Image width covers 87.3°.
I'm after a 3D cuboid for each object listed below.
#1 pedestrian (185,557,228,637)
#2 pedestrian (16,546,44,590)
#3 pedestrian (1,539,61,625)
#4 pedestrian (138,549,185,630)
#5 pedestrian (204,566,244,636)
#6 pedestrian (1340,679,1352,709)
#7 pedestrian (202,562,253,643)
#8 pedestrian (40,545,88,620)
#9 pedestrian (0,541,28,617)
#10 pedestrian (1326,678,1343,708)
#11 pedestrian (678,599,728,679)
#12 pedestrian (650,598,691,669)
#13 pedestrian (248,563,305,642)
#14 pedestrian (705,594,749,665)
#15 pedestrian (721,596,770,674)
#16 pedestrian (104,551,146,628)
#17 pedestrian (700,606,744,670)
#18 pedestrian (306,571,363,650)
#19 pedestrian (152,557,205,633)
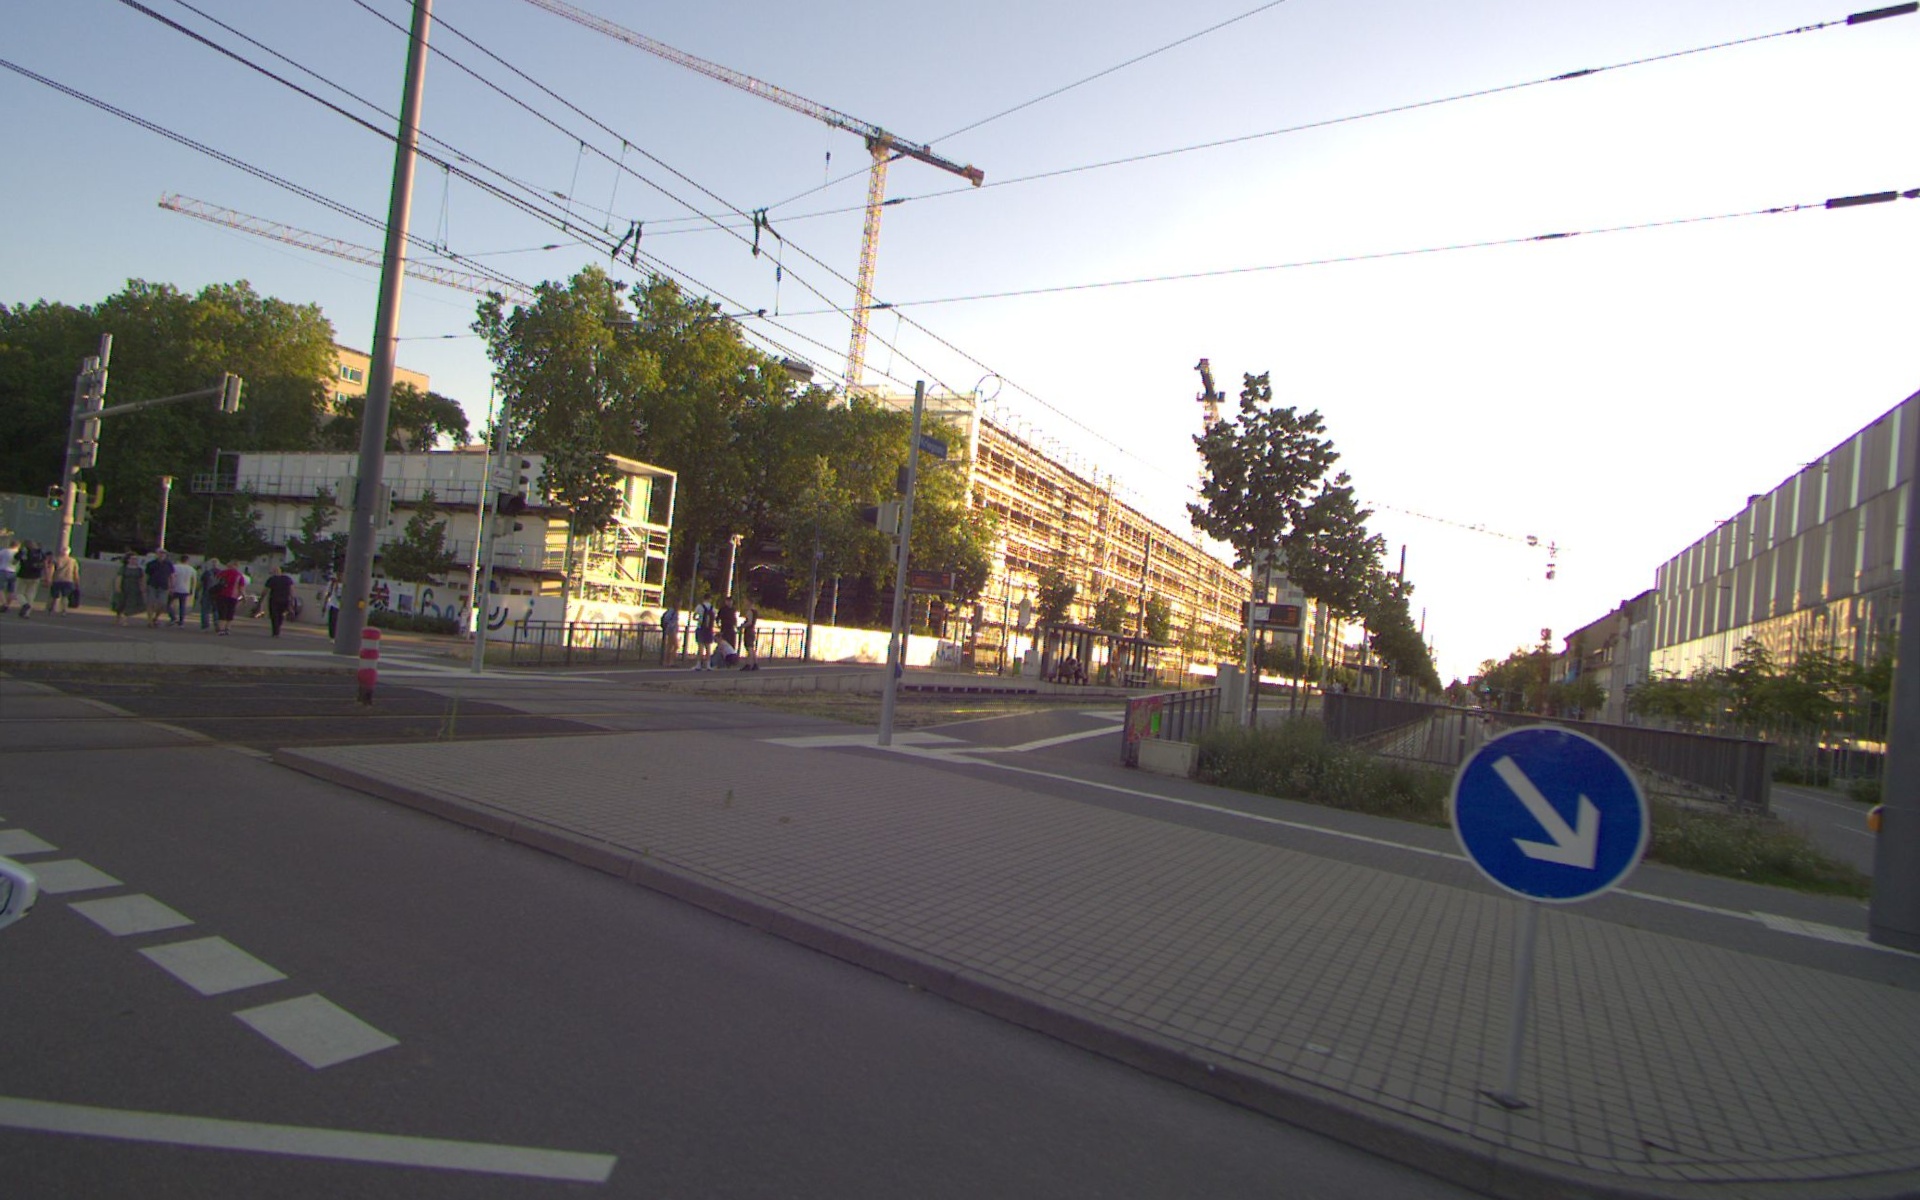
[{"bbox_3d":[-17.911,-0.075,23.914,0.631,1.812,0.571,5,-2,45],"label":"pedestrian"},{"bbox_3d":[-42.155,-1.451,45.611,0.702,1.864,0.666,5,-1,36],"label":"pedestrian"},{"bbox_3d":[-20.115,-0.389,21.779,0.902,1.745,0.710,5,-2,41],"label":"pedestrian"},{"bbox_3d":[-18.544,-0.242,23.370,0.676,1.778,0.893,7,-2,-38],"label":"pedestrian"},{"bbox_3d":[-18.658,0.025,25.509,0.631,1.698,0.571,5,-2,45],"label":"pedestrian"},{"bbox_3d":[22.312,5.433,58.202,0.396,1.689,0.448,5,-2,37],"label":"pedestrian"},{"bbox_3d":[-16.921,0.048,23.247,0.701,1.755,0.837,7,-2,-43],"label":"pedestrian"},{"bbox_3d":[-22.054,-0.435,24.763,0.708,1.745,0.661,7,-2,-42],"label":"pedestrian"},{"bbox_3d":[-22.790,-0.511,23.949,0.708,1.745,0.661,7,-2,-42],"label":"pedestrian"},{"bbox_3d":[21.884,5.437,58.821,0.657,1.689,0.574,5,-2,36],"label":"pedestrian"},{"bbox_3d":[-5.906,0.901,23.106,0.659,1.745,0.710,5,-2,42],"label":"pedestrian"},{"bbox_3d":[-6.837,0.791,23.739,0.527,1.611,0.572,5,-1,31],"label":"pedestrian"},{"bbox_3d":[-16.857,0.068,24.810,0.789,1.812,0.804,5,-2,40],"label":"pedestrian"},{"bbox_3d":[-6.032,0.772,26.058,0.657,1.745,0.712,5,-2,28],"label":"pedestrian"},{"bbox_3d":[-5.084,0.823,23.836,0.659,1.745,0.710,5,-2,42],"label":"pedestrian"},{"bbox_3d":[-19.037,-0.246,22.956,0.557,1.674,0.893,7,-1,-38],"label":"pedestrian"},{"bbox_3d":[-5.750,0.918,24.286,0.672,1.457,0.707,7,-2,-37],"label":"pedestrian"},{"bbox_3d":[-15.230,0.264,24.507,0.789,1.812,0.805,5,-2,39],"label":"pedestrian"},{"bbox_3d":[-19.068,-0.125,24.579,0.705,1.745,0.909,7,-2,-28],"label":"pedestrian"}]
